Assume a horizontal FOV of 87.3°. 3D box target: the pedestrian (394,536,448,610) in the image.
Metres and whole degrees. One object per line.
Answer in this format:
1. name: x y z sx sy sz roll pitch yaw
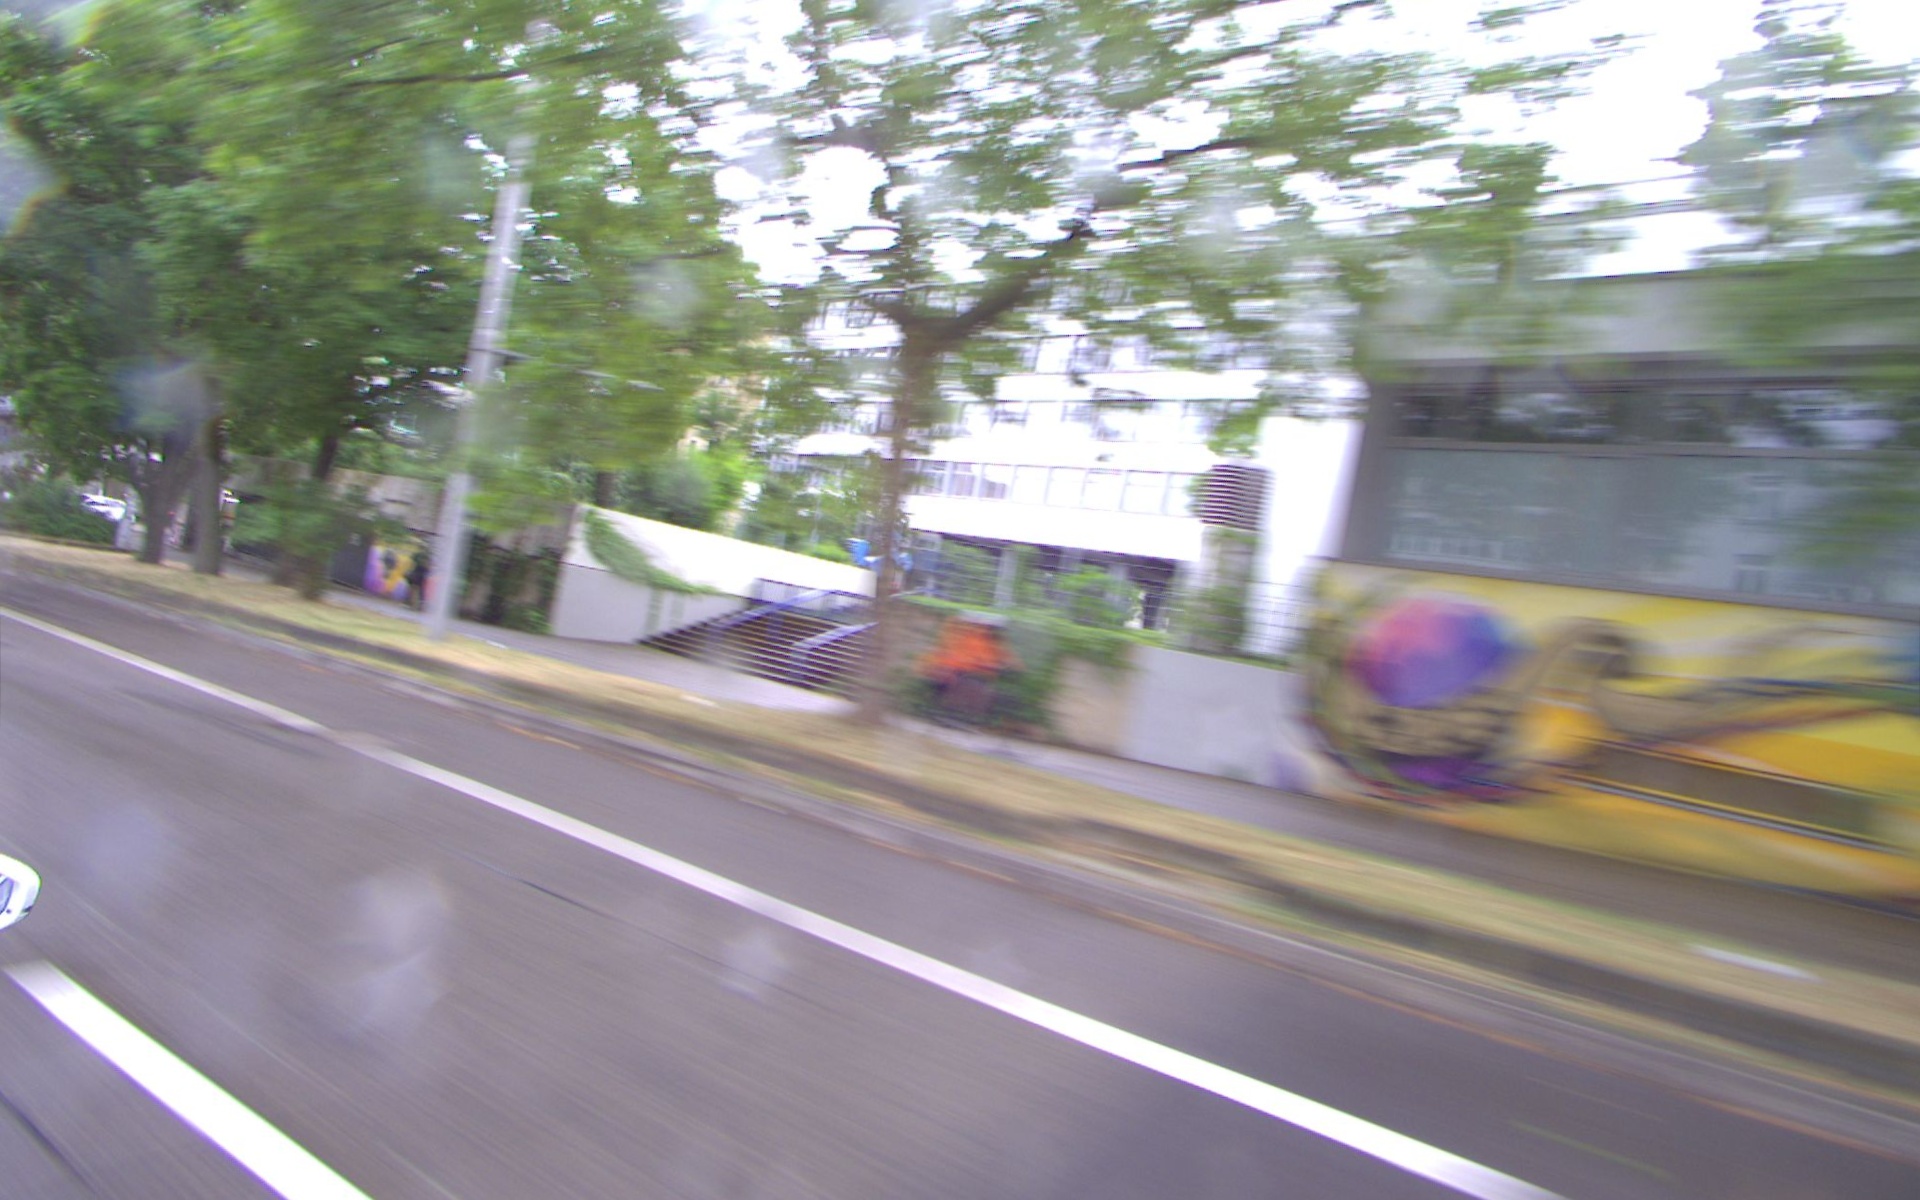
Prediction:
1. pedestrian: -15.109 -0.757 28.189 1.040 1.886 0.806 8 0 40

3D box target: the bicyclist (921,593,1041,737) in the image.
1. bicyclist: 0.265 0.829 12.766 1.030 1.646 0.807 7 -2 37

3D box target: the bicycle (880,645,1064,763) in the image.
1. bicycle: 0.120 1.300 12.813 2.165 1.124 0.807 7 -2 38

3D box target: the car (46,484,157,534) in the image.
1. car: -45.625 -4.798 53.588 1.719 1.702 4.365 9 -3 6
